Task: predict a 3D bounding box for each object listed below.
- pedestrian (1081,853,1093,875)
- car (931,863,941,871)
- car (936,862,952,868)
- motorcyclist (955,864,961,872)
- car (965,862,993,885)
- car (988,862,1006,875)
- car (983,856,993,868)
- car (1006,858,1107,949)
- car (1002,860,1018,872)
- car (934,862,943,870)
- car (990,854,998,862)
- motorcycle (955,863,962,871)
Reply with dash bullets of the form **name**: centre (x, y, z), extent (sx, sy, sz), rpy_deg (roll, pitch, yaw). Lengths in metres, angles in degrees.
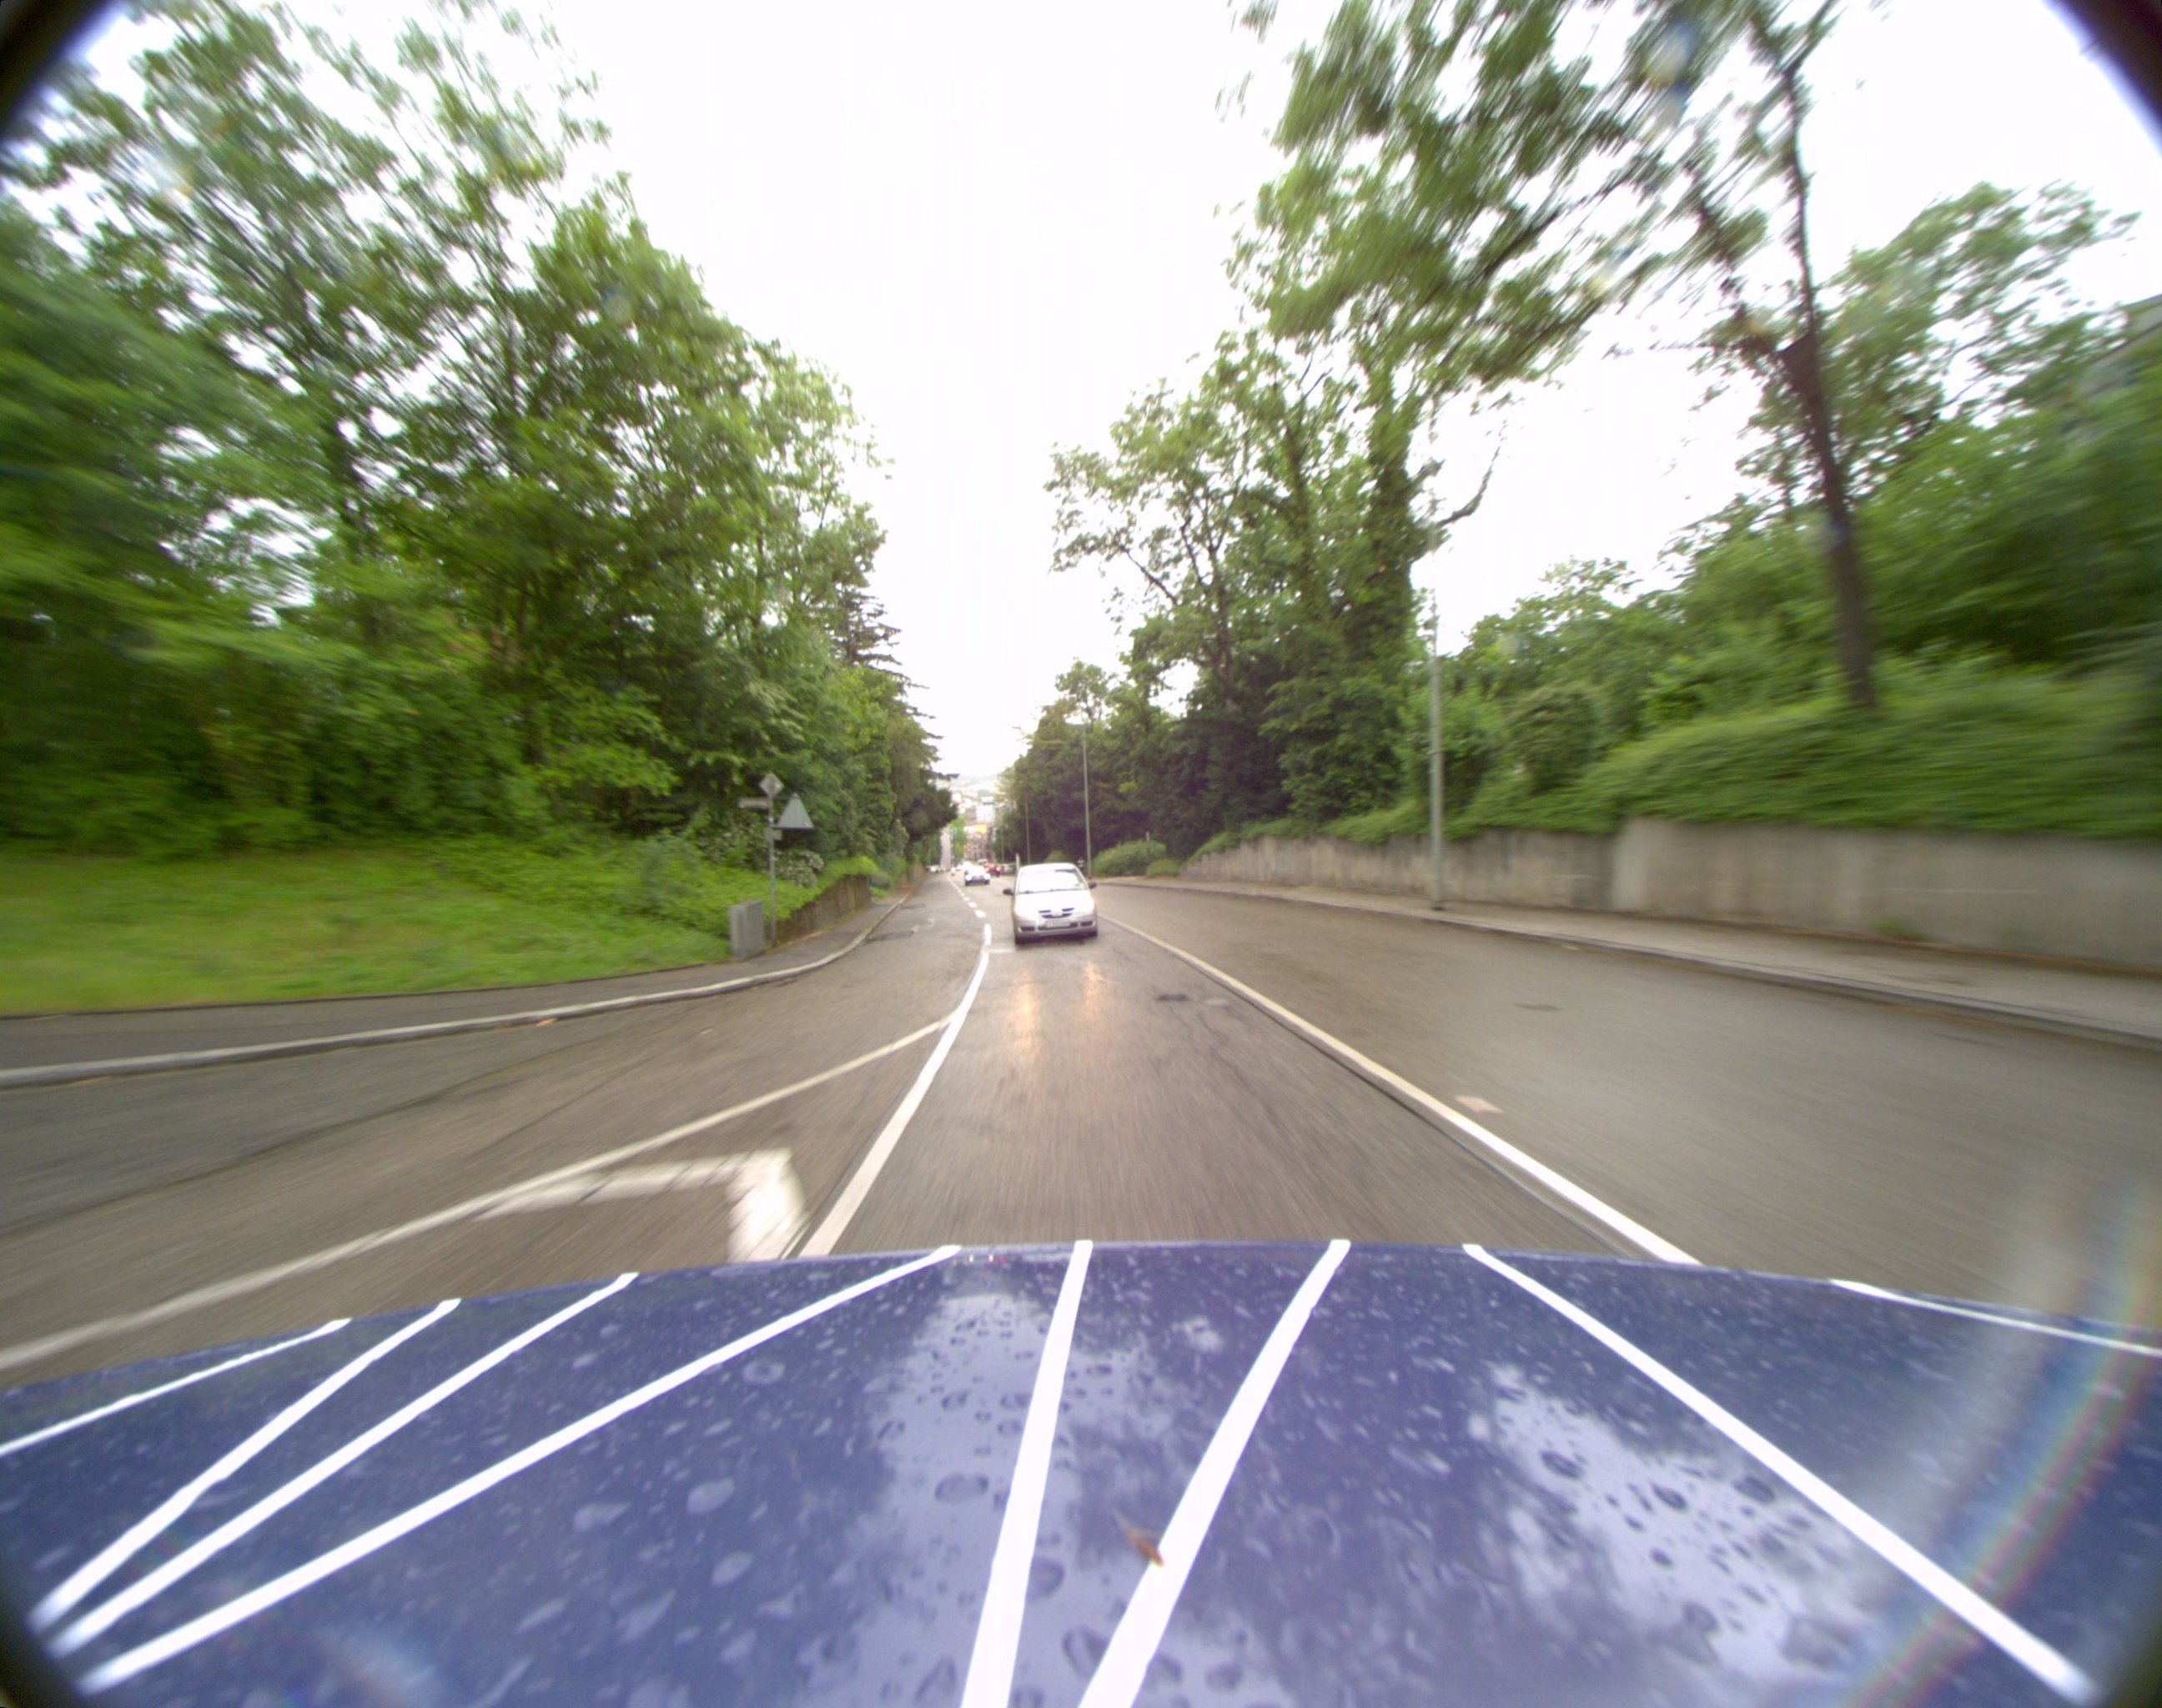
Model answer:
- **pedestrian**: centre (0.450, 0.746, 57.762), extent (0.708, 1.634, 0.713), rpy_deg (-4, 1, -4)
- **car**: centre (-29.303, 2.591, 153.875), extent (1.744, 1.469, 4.737), rpy_deg (-1, 0, -7)
- **car**: centre (-38.595, 3.138, 214.091), extent (4.196, 1.565, 1.802), rpy_deg (0, 0, -8)
- **motorcyclist**: centre (-18.337, 2.023, 113.509), extent (0.779, 1.120, 0.548), rpy_deg (-5, 1, -6)
- **car**: centre (-7.866, 1.481, 59.032), extent (2.000, 1.603, 3.964), rpy_deg (-3, 0, -7)
- **car**: centre (-9.997, 1.718, 90.351), extent (1.681, 1.487, 3.457), rpy_deg (-4, 0, -11)
- **car**: centre (-19.462, 1.663, 158.685), extent (2.124, 2.536, 5.440), rpy_deg (-1, 0, -8)
- **car**: centre (-0.648, 0.945, 16.571), extent (1.827, 1.603, 4.186), rpy_deg (-4, 0, -5)
- **car**: centre (-9.638, 1.665, 102.874), extent (1.631, 1.490, 3.924), rpy_deg (-5, 0, -13)
- **car**: centre (-30.824, 2.618, 164.675), extent (1.770, 1.614, 4.675), rpy_deg (-2, 0, -9)
- **car**: centre (-25.571, 1.213, 223.340), extent (2.124, 2.536, 5.440), rpy_deg (-1, 0, -8)
- **motorcycle**: centre (-18.347, 1.893, 113.447), extent (0.779, 1.120, 2.298), rpy_deg (-5, 1, -6)
